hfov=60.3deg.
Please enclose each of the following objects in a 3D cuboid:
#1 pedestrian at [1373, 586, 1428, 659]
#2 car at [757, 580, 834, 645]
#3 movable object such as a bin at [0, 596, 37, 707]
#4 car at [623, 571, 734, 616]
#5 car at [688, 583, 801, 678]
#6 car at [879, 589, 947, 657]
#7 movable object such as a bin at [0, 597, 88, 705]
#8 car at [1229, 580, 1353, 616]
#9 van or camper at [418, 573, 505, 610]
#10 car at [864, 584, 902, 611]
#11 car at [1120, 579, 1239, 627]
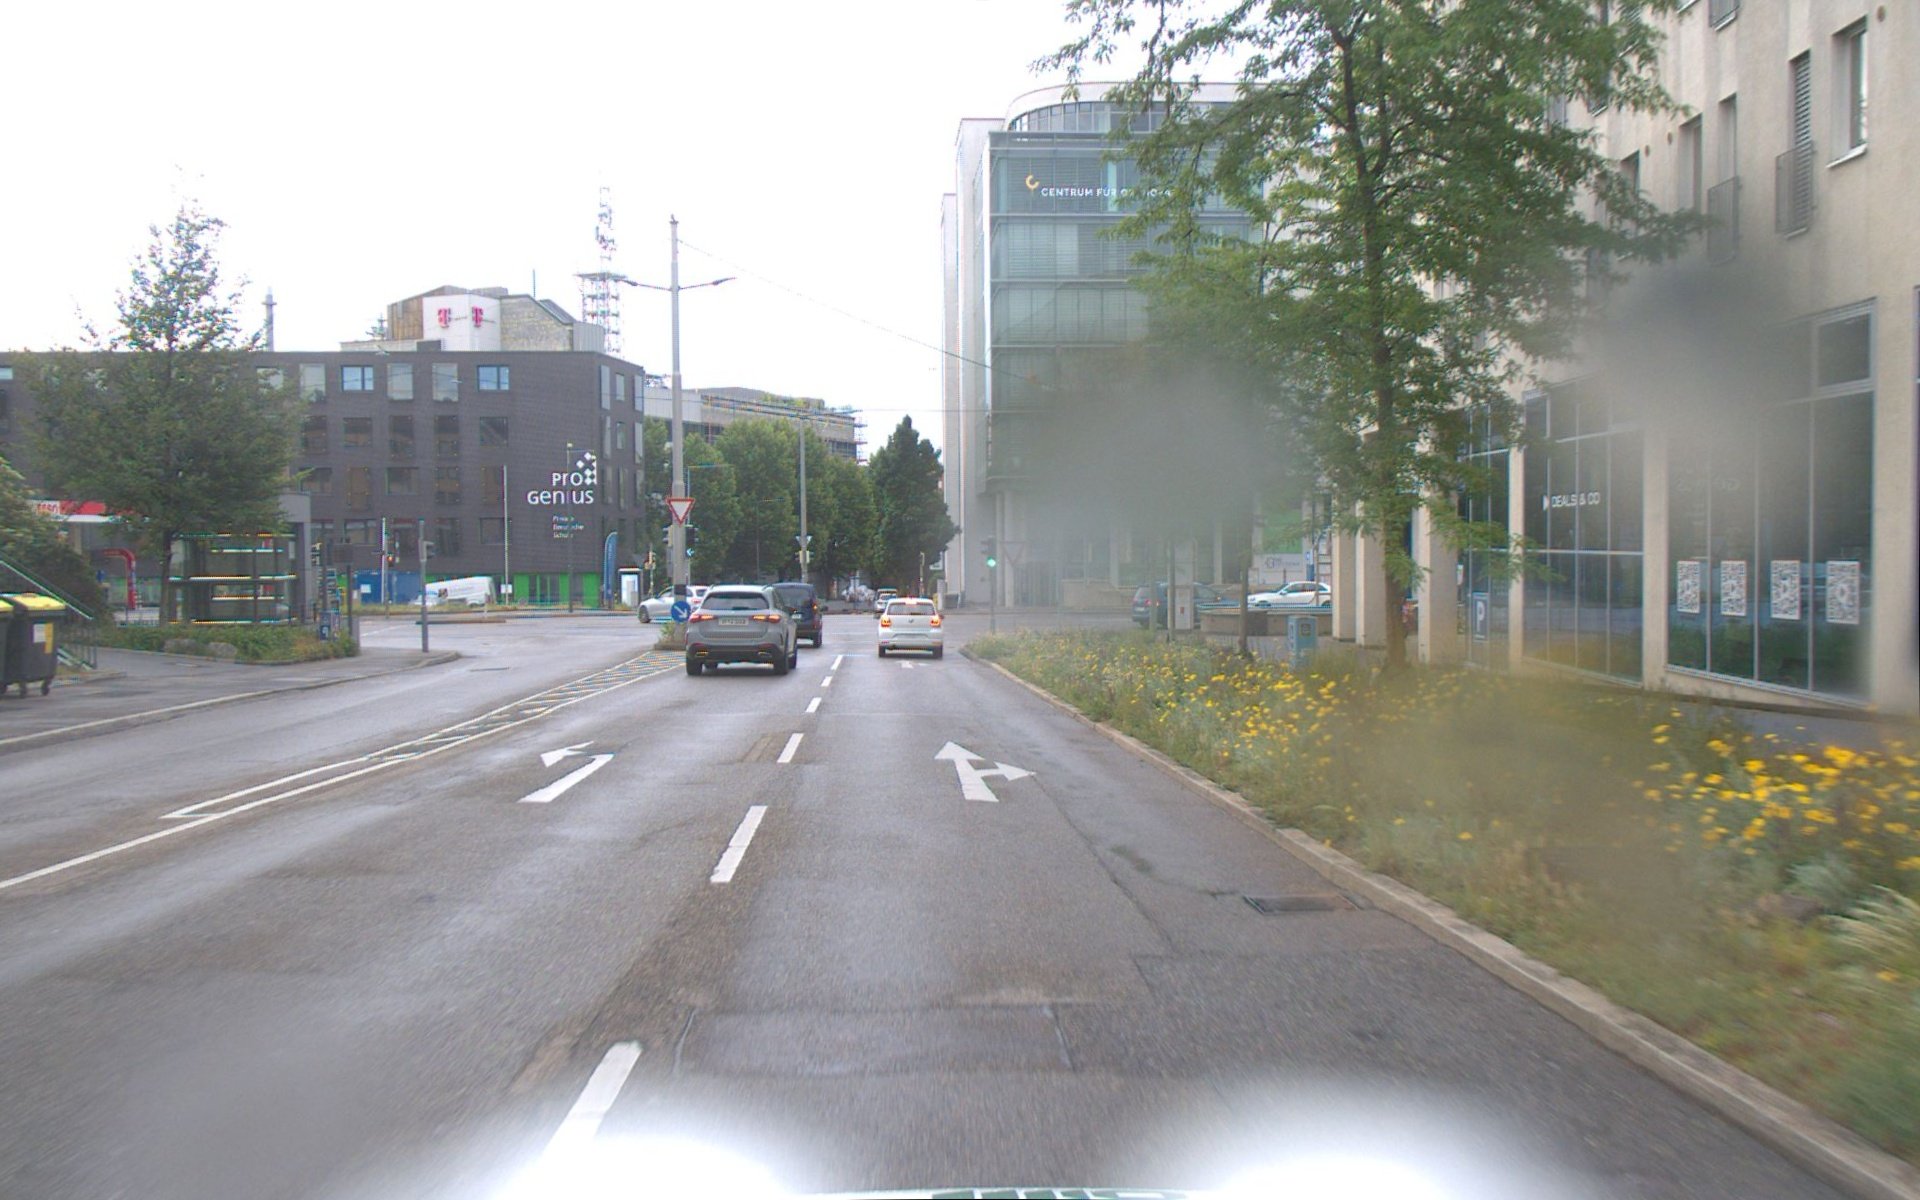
[{"bbox_3d":[10.911,0.536,40.952,1.080,1.742,0.861,0,2,-44],"label":"pedestrian"},{"bbox_3d":[-4.918,0.344,49.012,1.820,1.799,4.119,-1,0,-12],"label":"car"},{"bbox_3d":[-13.352,0.676,22.247,1.033,1.470,1.430,2,0,-1],"label":"movable object such as a bin"},{"bbox_3d":[-10.957,-0.262,64.208,4.414,1.606,1.987,3,1,43],"label":"car"},{"bbox_3d":[-4.052,0.531,31.675,1.870,1.660,4.207,1,0,-4],"label":"car"},{"bbox_3d":[-1.245,0.547,42.441,1.638,1.499,3.778,0,3,-3],"label":"car"},{"bbox_3d":[-13.389,0.707,23.699,1.033,1.470,1.358,2,0,-1],"label":"movable object such as a bin"},{"bbox_3d":[13.970,-0.113,69.996,4.850,1.411,1.822,-1,2,-5],"label":"car"},{"bbox_3d":[-34.449,-0.595,114.371,5.224,2.410,2.737,1,0,-4],"label":"van or camper"},{"bbox_3d":[-5.338,-0.171,114.531,1.959,1.747,3.987,1,0,-13],"label":"car"},{"bbox_3d":[8.114,0.075,61.156,3.932,1.601,1.987,-1,2,-23],"label":"car"}]
